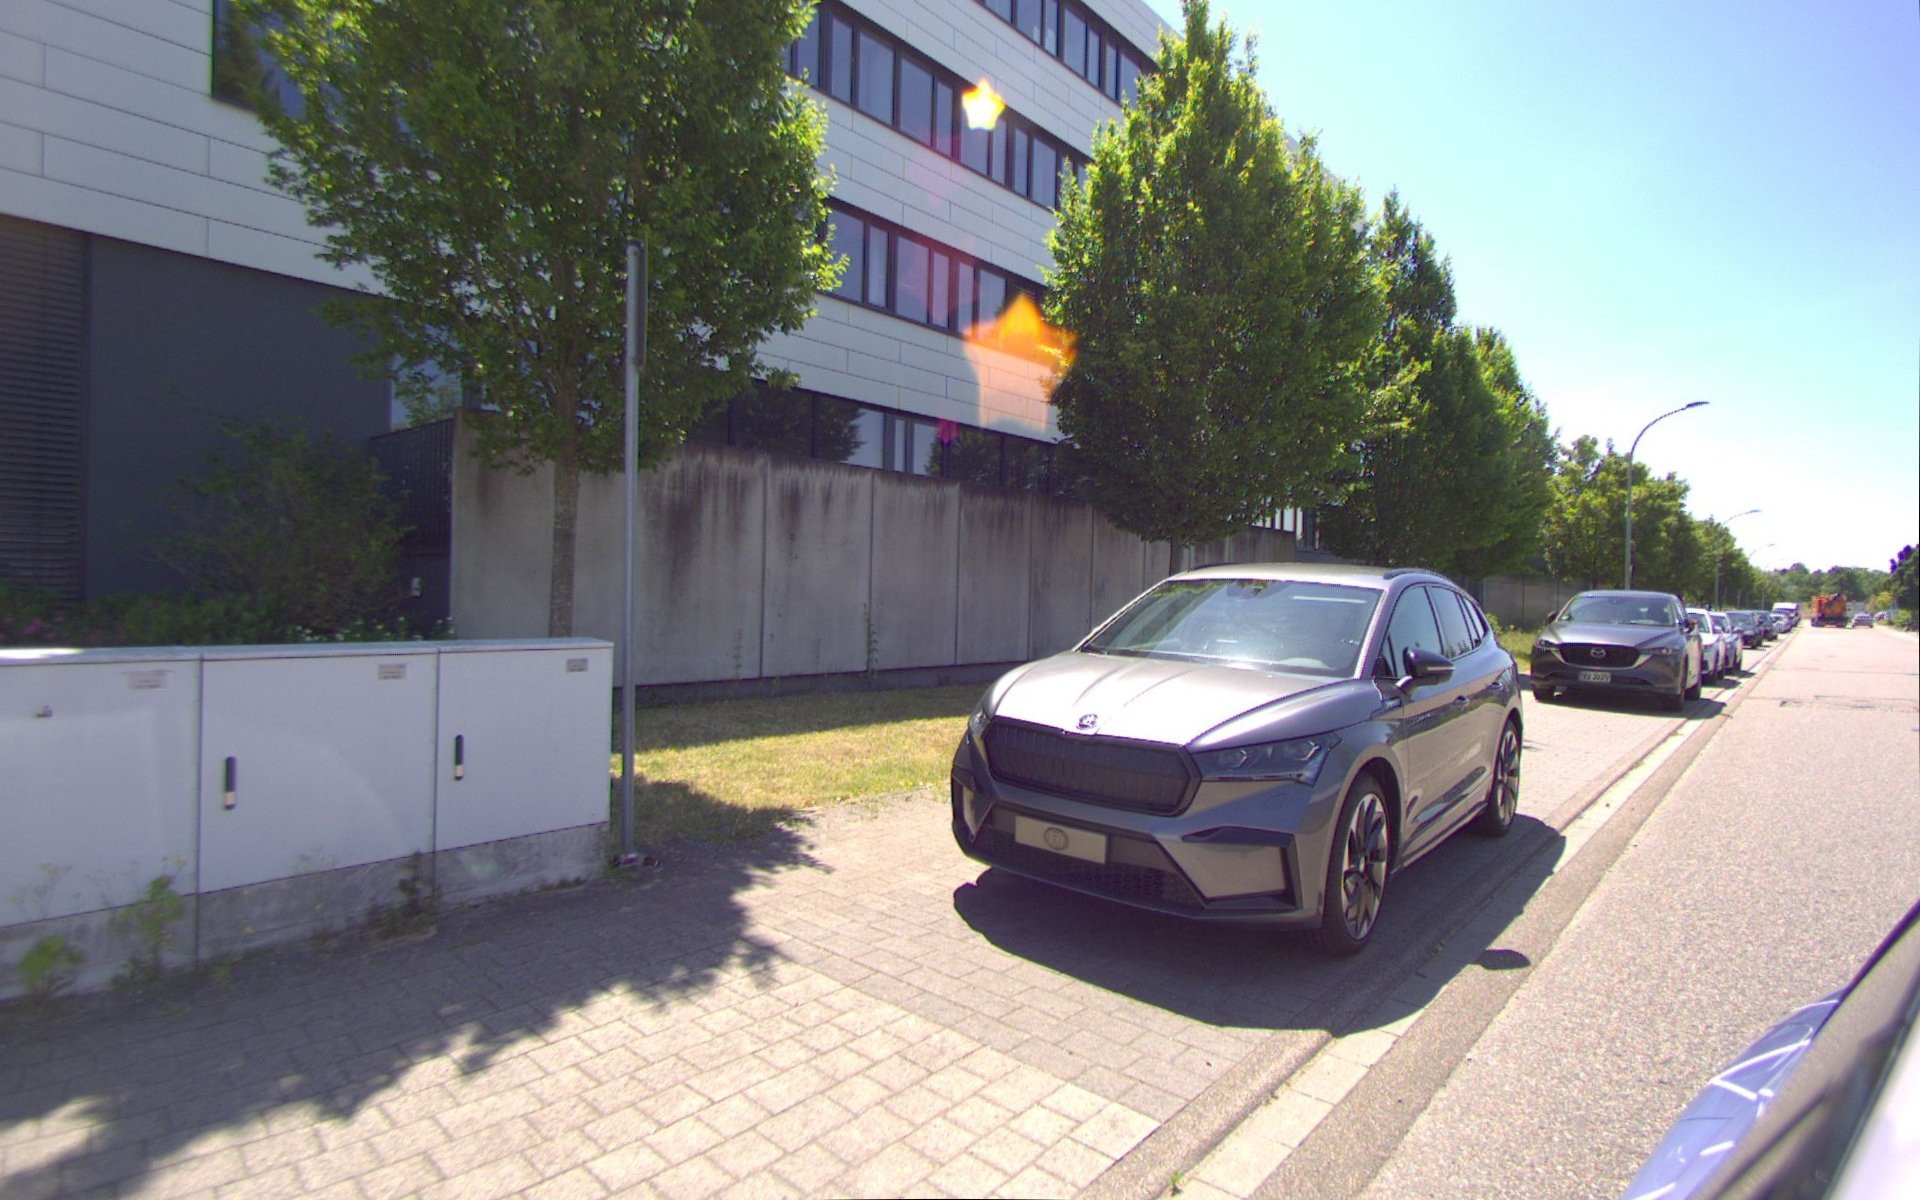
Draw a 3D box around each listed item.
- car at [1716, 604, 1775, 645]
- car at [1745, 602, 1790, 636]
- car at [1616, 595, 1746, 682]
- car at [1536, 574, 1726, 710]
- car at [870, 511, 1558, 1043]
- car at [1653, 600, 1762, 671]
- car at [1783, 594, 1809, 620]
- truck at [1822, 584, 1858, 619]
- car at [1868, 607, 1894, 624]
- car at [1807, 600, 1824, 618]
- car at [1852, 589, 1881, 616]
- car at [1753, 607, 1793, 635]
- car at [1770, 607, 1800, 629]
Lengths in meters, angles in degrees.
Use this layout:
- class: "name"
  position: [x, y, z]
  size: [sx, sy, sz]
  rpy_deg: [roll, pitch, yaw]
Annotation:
- class: "car"
  position: [32.117, 0.962, 41.331]
  size: [1.690, 1.494, 4.206]
  rpy_deg: [3, 2, 40]
- class: "car"
  position: [43.858, 0.991, 54.930]
  size: [1.736, 1.690, 4.304]
  rpy_deg: [3, 1, 40]
- class: "car"
  position: [14.808, 0.723, 20.698]
  size: [1.715, 1.499, 3.970]
  rpy_deg: [5, 2, 41]
- class: "car"
  position: [10.143, 0.548, 15.163]
  size: [1.757, 1.683, 4.297]
  rpy_deg: [4, 2, 41]
- class: "car"
  position: [1.779, 0.533, 5.544]
  size: [1.802, 1.682, 4.541]
  rpy_deg: [4, 2, 40]
- class: "car"
  position: [17.927, 0.791, 24.198]
  size: [1.715, 1.441, 3.891]
  rpy_deg: [5, 2, 41]
- class: "car"
  position: [90.949, 0.782, 110.084]
  size: [2.052, 2.732, 4.765]
  rpy_deg: [2, 1, 40]
- class: "truck"
  position: [95.641, 0.202, 110.056]
  size: [2.596, 3.589, 10.349]
  rpy_deg: [3, 1, 40]
- class: "car"
  position: [102.011, 1.724, 112.150]
  size: [1.992, 1.705, 3.940]
  rpy_deg: [2, 1, 41]
- class: "car"
  position: [140.146, 1.469, 165.790]
  size: [2.052, 2.732, 4.765]
  rpy_deg: [2, 1, 40]
- class: "car"
  position: [115.405, 0.300, 128.865]
  size: [2.592, 3.272, 6.128]
  rpy_deg: [2, 1, 41]
- class: "car"
  position: [47.968, 1.218, 59.661]
  size: [1.705, 1.475, 4.128]
  rpy_deg: [3, 2, 40]
- class: "car"
  position: [64.396, 1.387, 78.971]
  size: [1.730, 1.528, 3.613]
  rpy_deg: [3, 2, 40]
